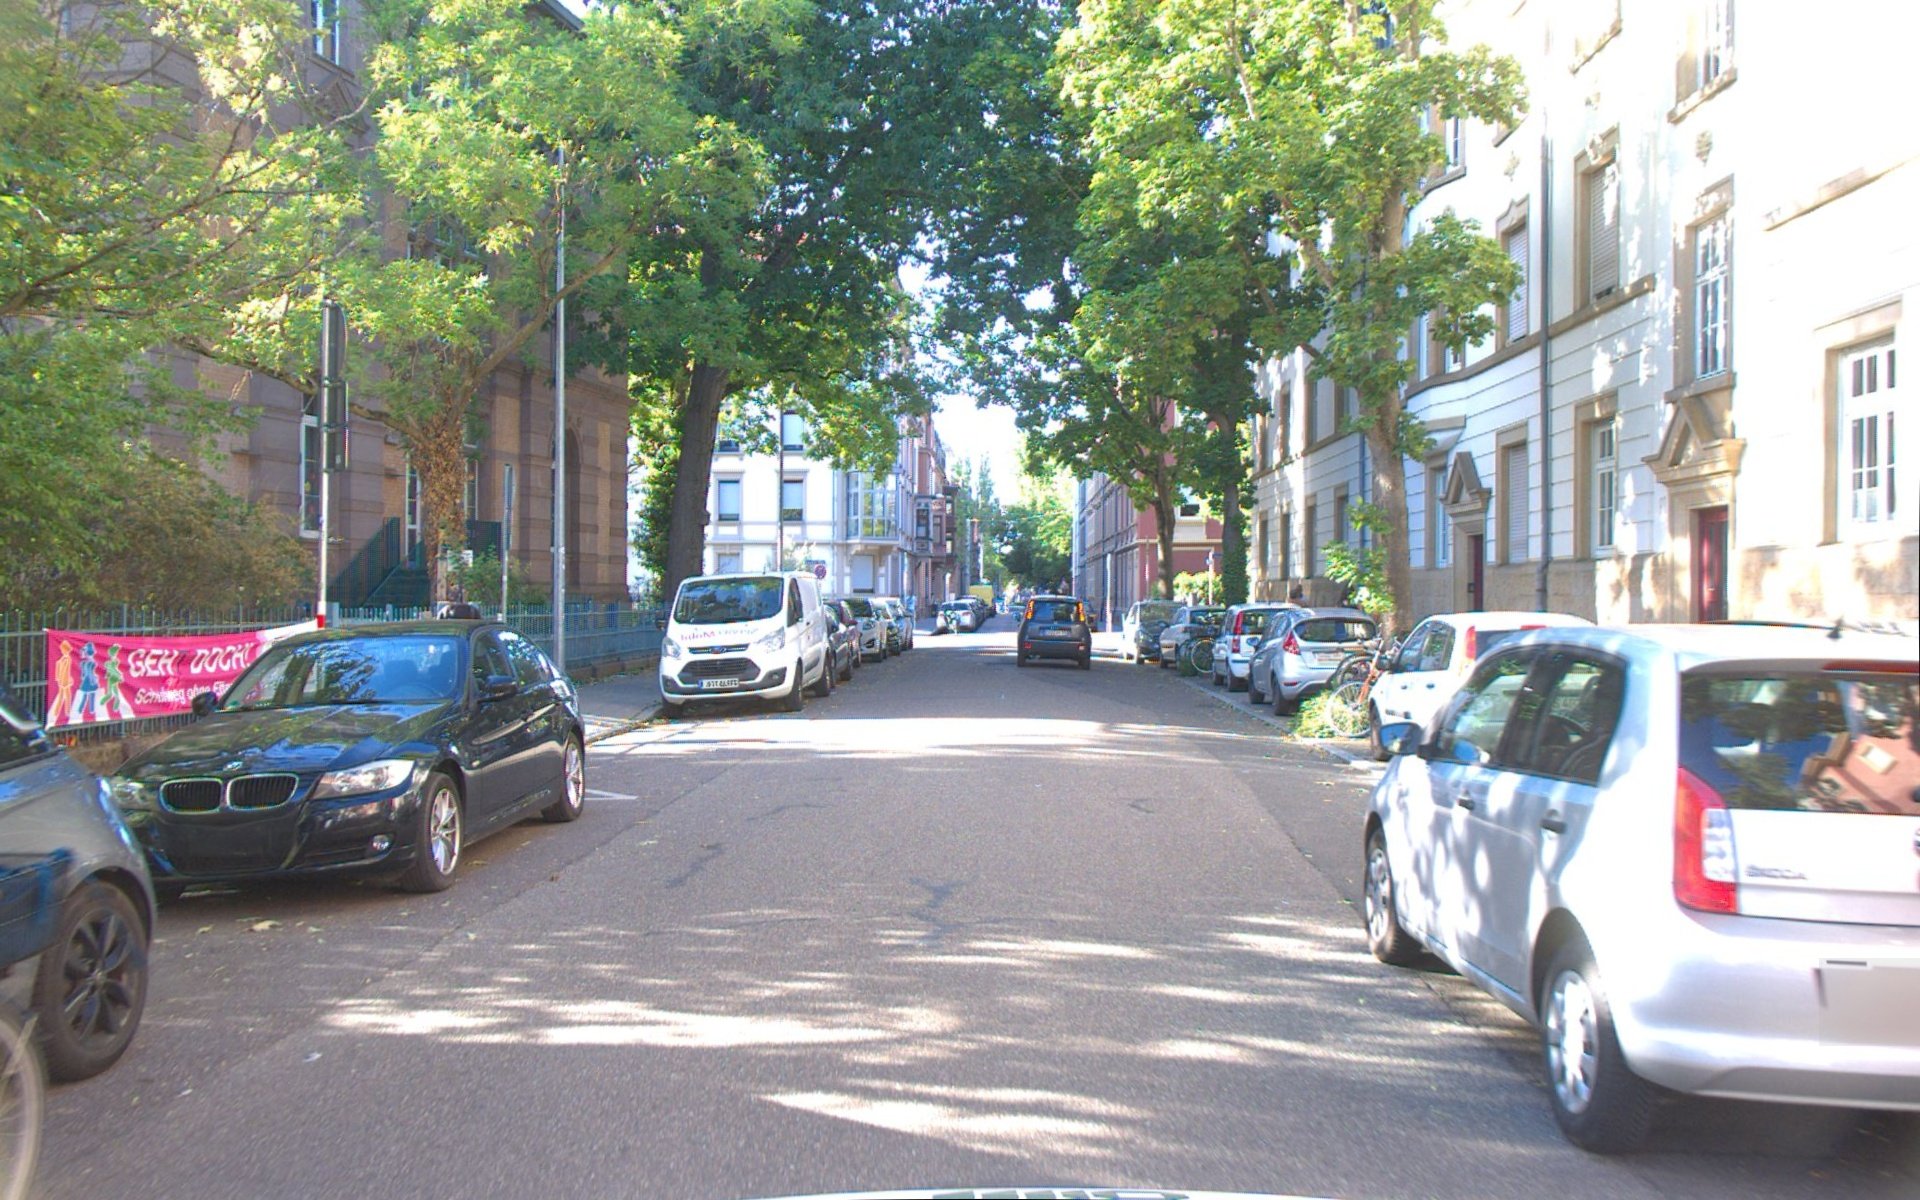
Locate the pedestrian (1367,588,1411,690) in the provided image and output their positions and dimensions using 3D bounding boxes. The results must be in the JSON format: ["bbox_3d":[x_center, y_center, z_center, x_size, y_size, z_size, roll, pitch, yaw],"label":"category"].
[{"bbox_3d":[7.384,0.659,28.481,0.583,1.731,0.689,1,0,3],"label":"pedestrian"}]

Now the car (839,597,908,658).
[{"bbox_3d":[-2.406,0.713,45.504,1.712,1.500,4.461,-4,0,-4],"label":"car"}]

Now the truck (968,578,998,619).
[{"bbox_3d":[1.813,-0.131,129.857,2.027,2.976,5.070,-4,0,3],"label":"truck"}]

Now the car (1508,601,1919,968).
[{"bbox_3d":[4.642,0.797,9.249,1.749,1.540,4.460,1,0,1],"label":"car"}]

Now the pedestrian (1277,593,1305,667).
[{"bbox_3d":[7.950,0.715,39.756,0.479,1.735,0.757,1,0,1],"label":"pedestrian"}]

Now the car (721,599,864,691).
[{"bbox_3d":[-2.977,0.764,30.366,1.959,1.483,4.607,-2,0,2],"label":"car"}]

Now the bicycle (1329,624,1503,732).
[{"bbox_3d":[5.642,0.958,20.545,1.928,1.251,0.760,-2,0,3],"label":"bicycle"}]

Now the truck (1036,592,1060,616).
[{"bbox_3d":[7.613,0.301,143.374,1.952,2.027,4.001,0,0,2],"label":"truck"}]

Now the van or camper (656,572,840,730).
[{"bbox_3d":[-3.031,0.680,24.847,1.882,2.014,5.462,-3,0,1],"label":"van or camper"}]

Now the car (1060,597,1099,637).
[{"bbox_3d":[5.362,0.732,74.611,1.628,1.698,3.758,1,0,3],"label":"car"}]

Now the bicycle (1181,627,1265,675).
[{"bbox_3d":[5.563,1.071,35.040,1.680,0.966,0.733,-1,0,2],"label":"bicycle"}]

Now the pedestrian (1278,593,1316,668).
[{"bbox_3d":[7.911,0.714,38.824,0.761,1.724,0.875,1,0,5],"label":"pedestrian"}]

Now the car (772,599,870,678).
[{"bbox_3d":[-2.899,0.769,35.270,1.568,1.485,4.028,-3,0,2],"label":"car"}]

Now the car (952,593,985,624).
[{"bbox_3d":[0.528,0.501,98.820,1.738,1.728,3.926,-3,0,3],"label":"car"}]

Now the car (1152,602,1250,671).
[{"bbox_3d":[5.539,0.811,38.372,1.578,1.504,3.869,0,0,-2],"label":"car"}]

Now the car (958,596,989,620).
[{"bbox_3d":[0.975,0.566,115.762,1.921,1.505,3.926,-3,0,3],"label":"car"}]

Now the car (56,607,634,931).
[{"bbox_3d":[-3.418,0.818,10.316,1.678,1.419,4.780,-4,0,1],"label":"car"}]

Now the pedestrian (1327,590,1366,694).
[{"bbox_3d":[6.663,0.711,28.516,0.509,1.765,0.878,0,0,3],"label":"pedestrian"}]

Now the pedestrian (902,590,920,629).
[{"bbox_3d":[-2.398,0.463,80.968,0.707,1.871,0.627,1,0,13],"label":"pedestrian"}]

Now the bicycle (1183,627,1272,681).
[{"bbox_3d":[5.456,1.097,33.820,1.733,1.057,0.606,1,0,2],"label":"bicycle"}]

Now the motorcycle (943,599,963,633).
[{"bbox_3d":[-0.329,0.705,73.966,0.683,1.486,1.748,-1,0,-7],"label":"motorcycle"}]

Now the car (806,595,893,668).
[{"bbox_3d":[-2.657,0.732,40.596,1.788,1.581,4.133,-4,0,0],"label":"car"}]

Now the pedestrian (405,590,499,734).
[{"bbox_3d":[-5.752,0.691,18.761,0.863,1.605,0.529,1,0,3],"label":"pedestrian"}]

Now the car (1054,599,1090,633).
[{"bbox_3d":[5.359,0.737,79.109,1.628,1.531,3.758,1,0,3],"label":"car"}]

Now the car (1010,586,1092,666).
[{"bbox_3d":[1.947,0.535,36.167,1.599,1.577,3.265,2,1,0],"label":"car"}]

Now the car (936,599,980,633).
[{"bbox_3d":[-0.077,0.721,77.257,1.759,1.456,3.926,-3,0,3],"label":"car"}]

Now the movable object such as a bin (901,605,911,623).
[{"bbox_3d":[-2.764,0.719,85.245,0.501,0.969,0.501,0,0,-1],"label":"movable object such as a bin"}]

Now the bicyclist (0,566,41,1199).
[{"bbox_3d":[-2.196,0.697,3.026,0.638,1.535,0.625,1,0,4],"label":"bicyclist"}]

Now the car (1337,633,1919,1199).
[{"bbox_3d":[2.599,0.969,5.989,1.644,1.571,3.801,1,0,1],"label":"car"}]

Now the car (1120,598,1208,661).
[{"bbox_3d":[5.355,0.743,43.963,1.752,1.578,4.409,0,0,-1],"label":"car"}]

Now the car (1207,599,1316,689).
[{"bbox_3d":[5.464,0.758,30.295,1.488,1.537,3.545,0,0,2],"label":"car"}]

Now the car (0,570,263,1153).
[{"bbox_3d":[-3.510,0.761,4.015,1.641,1.600,4.153,-3,0,3],"label":"car"}]

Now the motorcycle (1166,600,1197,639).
[{"bbox_3d":[8.845,0.751,65.957,0.998,1.428,2.194,0,2,14],"label":"motorcycle"}]

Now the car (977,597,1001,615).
[{"bbox_3d":[2.546,0.513,145.109,1.921,1.505,3.926,-3,0,3],"label":"car"}]

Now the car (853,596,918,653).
[{"bbox_3d":[-2.246,0.727,50.605,1.661,1.577,3.920,-3,0,1],"label":"car"}]

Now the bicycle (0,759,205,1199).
[{"bbox_3d":[-2.194,0.934,3.122,0.651,1.096,1.686,1,0,4],"label":"bicycle"}]

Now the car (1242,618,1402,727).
[{"bbox_3d":[5.235,0.995,24.363,1.588,1.418,4.158,0,0,2],"label":"car"}]

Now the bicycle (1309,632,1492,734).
[{"bbox_3d":[5.060,0.946,19.081,1.928,1.092,0.600,-2,0,3],"label":"bicycle"}]

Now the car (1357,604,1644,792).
[{"bbox_3d":[4.892,0.813,15.468,1.563,1.514,3.749,-1,0,2],"label":"car"}]
